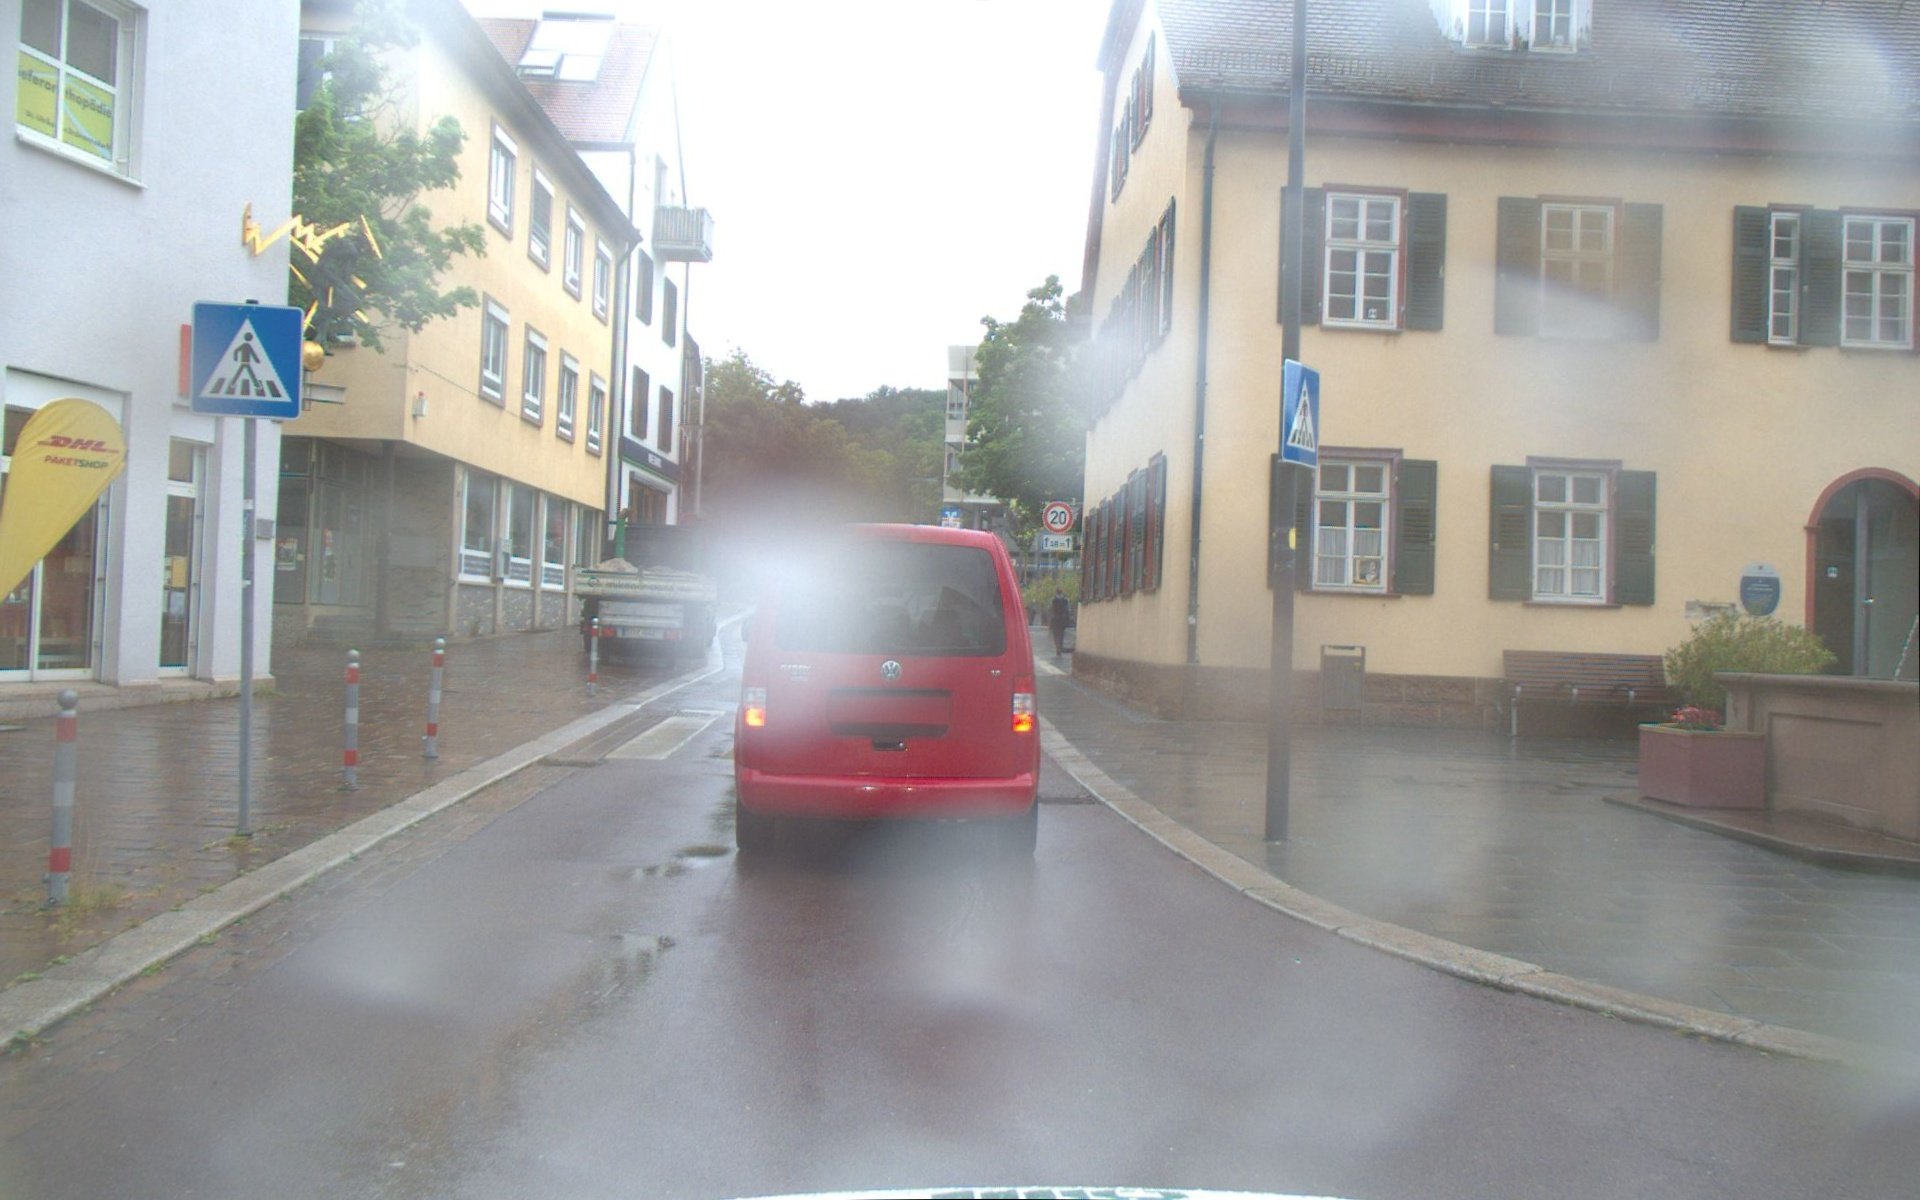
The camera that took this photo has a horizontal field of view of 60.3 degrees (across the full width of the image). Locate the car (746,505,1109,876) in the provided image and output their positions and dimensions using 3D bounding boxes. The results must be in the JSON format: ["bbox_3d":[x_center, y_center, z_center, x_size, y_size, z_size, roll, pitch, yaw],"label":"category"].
[{"bbox_3d":[-0.349,0.458,10.478,1.826,1.862,4.180,1,0,-5],"label":"car"}]

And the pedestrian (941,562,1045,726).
[{"bbox_3d":[0.361,0.466,18.097,0.860,1.722,0.706,1,1,-41],"label":"pedestrian"}]

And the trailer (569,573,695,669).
[{"bbox_3d":[-5.137,0.288,26.219,1.695,1.370,3.156,1,1,-7],"label":"trailer"}]

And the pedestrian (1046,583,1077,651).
[{"bbox_3d":[2.501,0.415,40.847,0.713,1.645,0.694,1,0,1],"label":"pedestrian"}]

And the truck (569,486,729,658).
[{"bbox_3d":[-5.667,-0.541,31.043,2.426,2.843,6.591,1,1,-7],"label":"truck"}]
